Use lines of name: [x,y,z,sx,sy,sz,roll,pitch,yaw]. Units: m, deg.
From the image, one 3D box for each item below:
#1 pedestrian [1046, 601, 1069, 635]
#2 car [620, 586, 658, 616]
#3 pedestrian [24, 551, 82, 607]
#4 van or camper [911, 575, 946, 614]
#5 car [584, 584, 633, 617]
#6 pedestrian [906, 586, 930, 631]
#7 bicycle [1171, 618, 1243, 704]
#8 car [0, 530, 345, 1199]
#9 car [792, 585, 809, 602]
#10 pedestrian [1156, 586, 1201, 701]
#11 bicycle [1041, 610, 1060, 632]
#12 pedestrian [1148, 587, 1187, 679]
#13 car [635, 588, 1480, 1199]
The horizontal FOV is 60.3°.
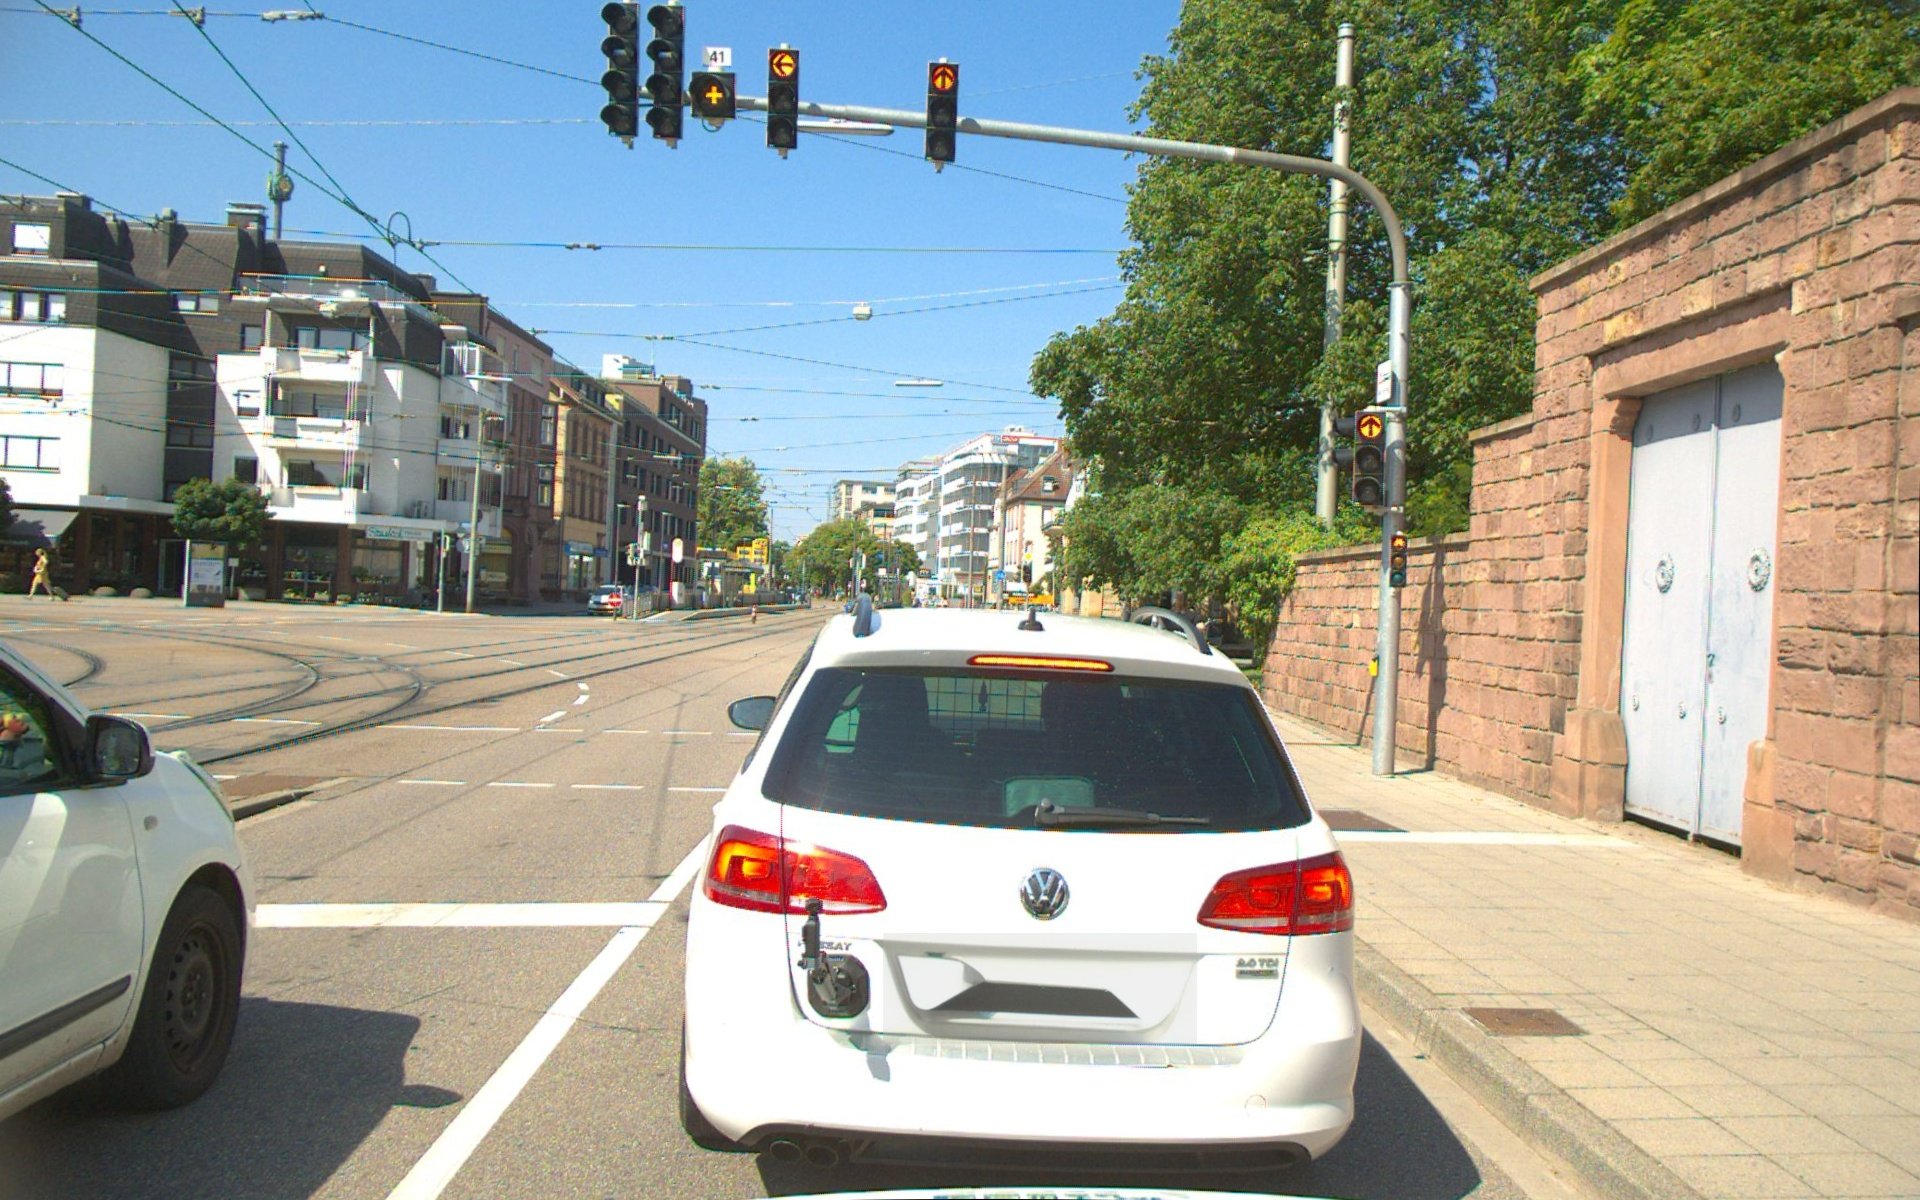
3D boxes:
pedestrian: [4.476,0.815,75.990,0.838,1.536,0.782,2,0,17]
car: [-17.076,0.037,88.121,1.542,1.484,3.811,2,0,-4]
pedestrian: [-31.384,-0.707,57.227,1.102,1.868,1.431,2,0,40]
van or camper: [-2.832,-0.464,146.788,2.884,3.235,6.611,2,0,-2]
car: [-16.979,0.029,80.040,1.593,1.456,3.961,4,0,-3]
pedestrian: [-1.794,0.359,70.472,0.813,1.841,0.830,2,0,10]
bicycle: [3.417,0.826,22.981,0.525,1.131,1.804,2,-1,-6]
car: [-2.894,0.632,3.447,1.730,1.588,4.066,1,0,-1]
car: [-20.635,-0.836,214.344,1.954,2.049,3.998,1,0,-3]
pedestrian: [3.038,0.596,23.045,0.529,1.576,0.663,0,0,-2]
bicycle: [4.970,1.152,90.461,0.710,1.159,2.196,2,0,11]
pedestrian: [3.950,0.623,31.537,0.636,1.711,0.708,2,0,5]
car: [0.180,0.727,5.366,1.717,1.442,3.852,2,0,-1]
